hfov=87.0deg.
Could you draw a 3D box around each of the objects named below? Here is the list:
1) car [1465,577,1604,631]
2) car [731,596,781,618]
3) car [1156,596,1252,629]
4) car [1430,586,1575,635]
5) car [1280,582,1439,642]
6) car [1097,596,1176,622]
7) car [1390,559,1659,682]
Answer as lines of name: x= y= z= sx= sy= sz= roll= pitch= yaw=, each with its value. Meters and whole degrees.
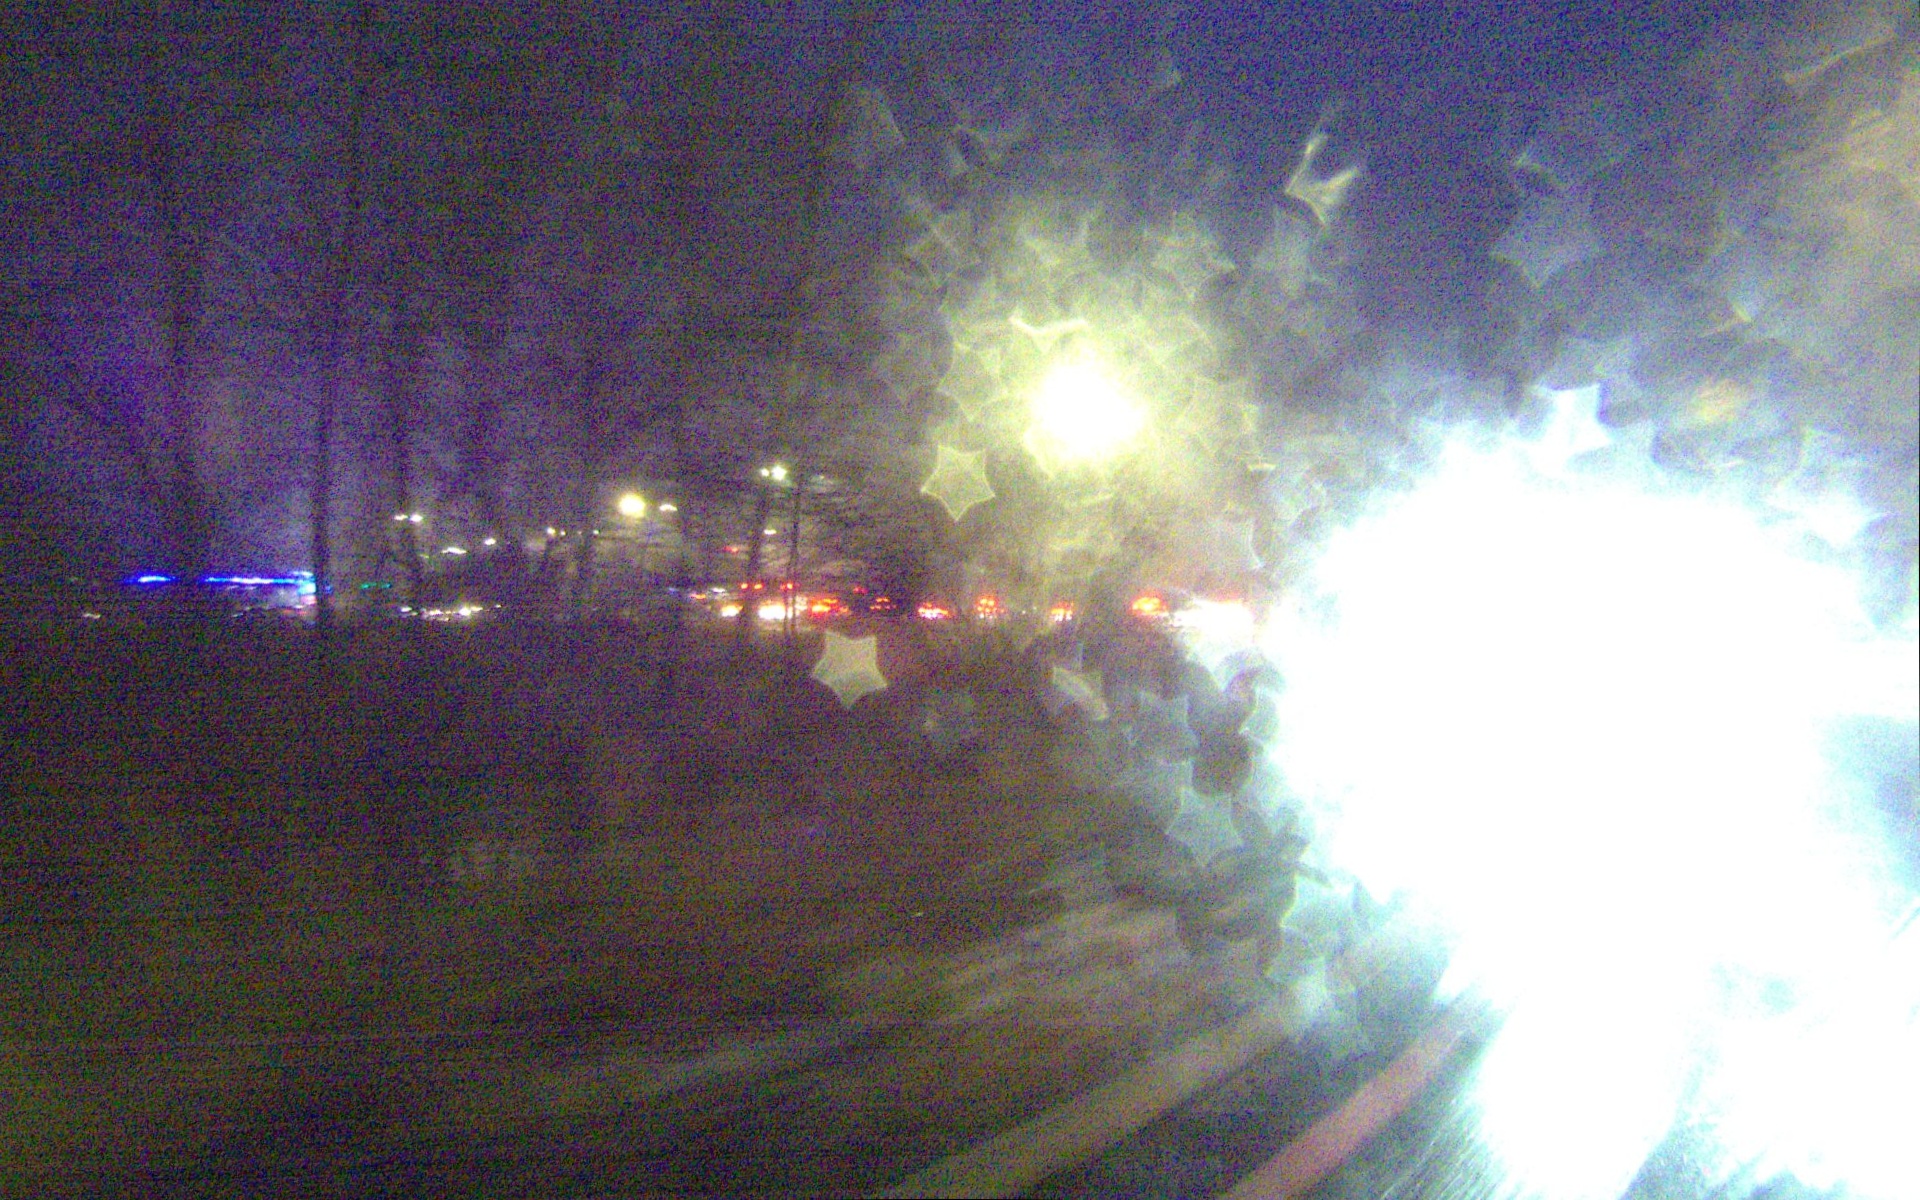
car: x=21.590 y=0.148 z=38.183 sx=1.736 sy=1.916 sz=4.202 roll=-1 pitch=0 yaw=-38
car: x=-14.695 y=0.500 z=72.747 sx=1.750 sy=1.502 sz=4.409 roll=-1 pitch=0 yaw=-37
car: x=11.931 y=0.611 z=49.735 sx=1.855 sy=1.550 sz=4.427 roll=-1 pitch=0 yaw=-38
car: x=19.320 y=0.374 z=36.189 sx=1.755 sy=1.629 sz=4.238 roll=0 pitch=0 yaw=-39
car: x=11.984 y=0.348 z=30.554 sx=1.798 sy=1.670 sz=4.133 roll=0 pitch=0 yaw=-37
car: x=8.535 y=0.441 z=49.227 sx=1.619 sy=1.218 sz=3.610 roll=-1 pitch=0 yaw=-39
car: x=10.178 y=0.335 z=18.727 sx=1.963 sy=1.949 sz=4.376 roll=-2 pitch=0 yaw=-10
